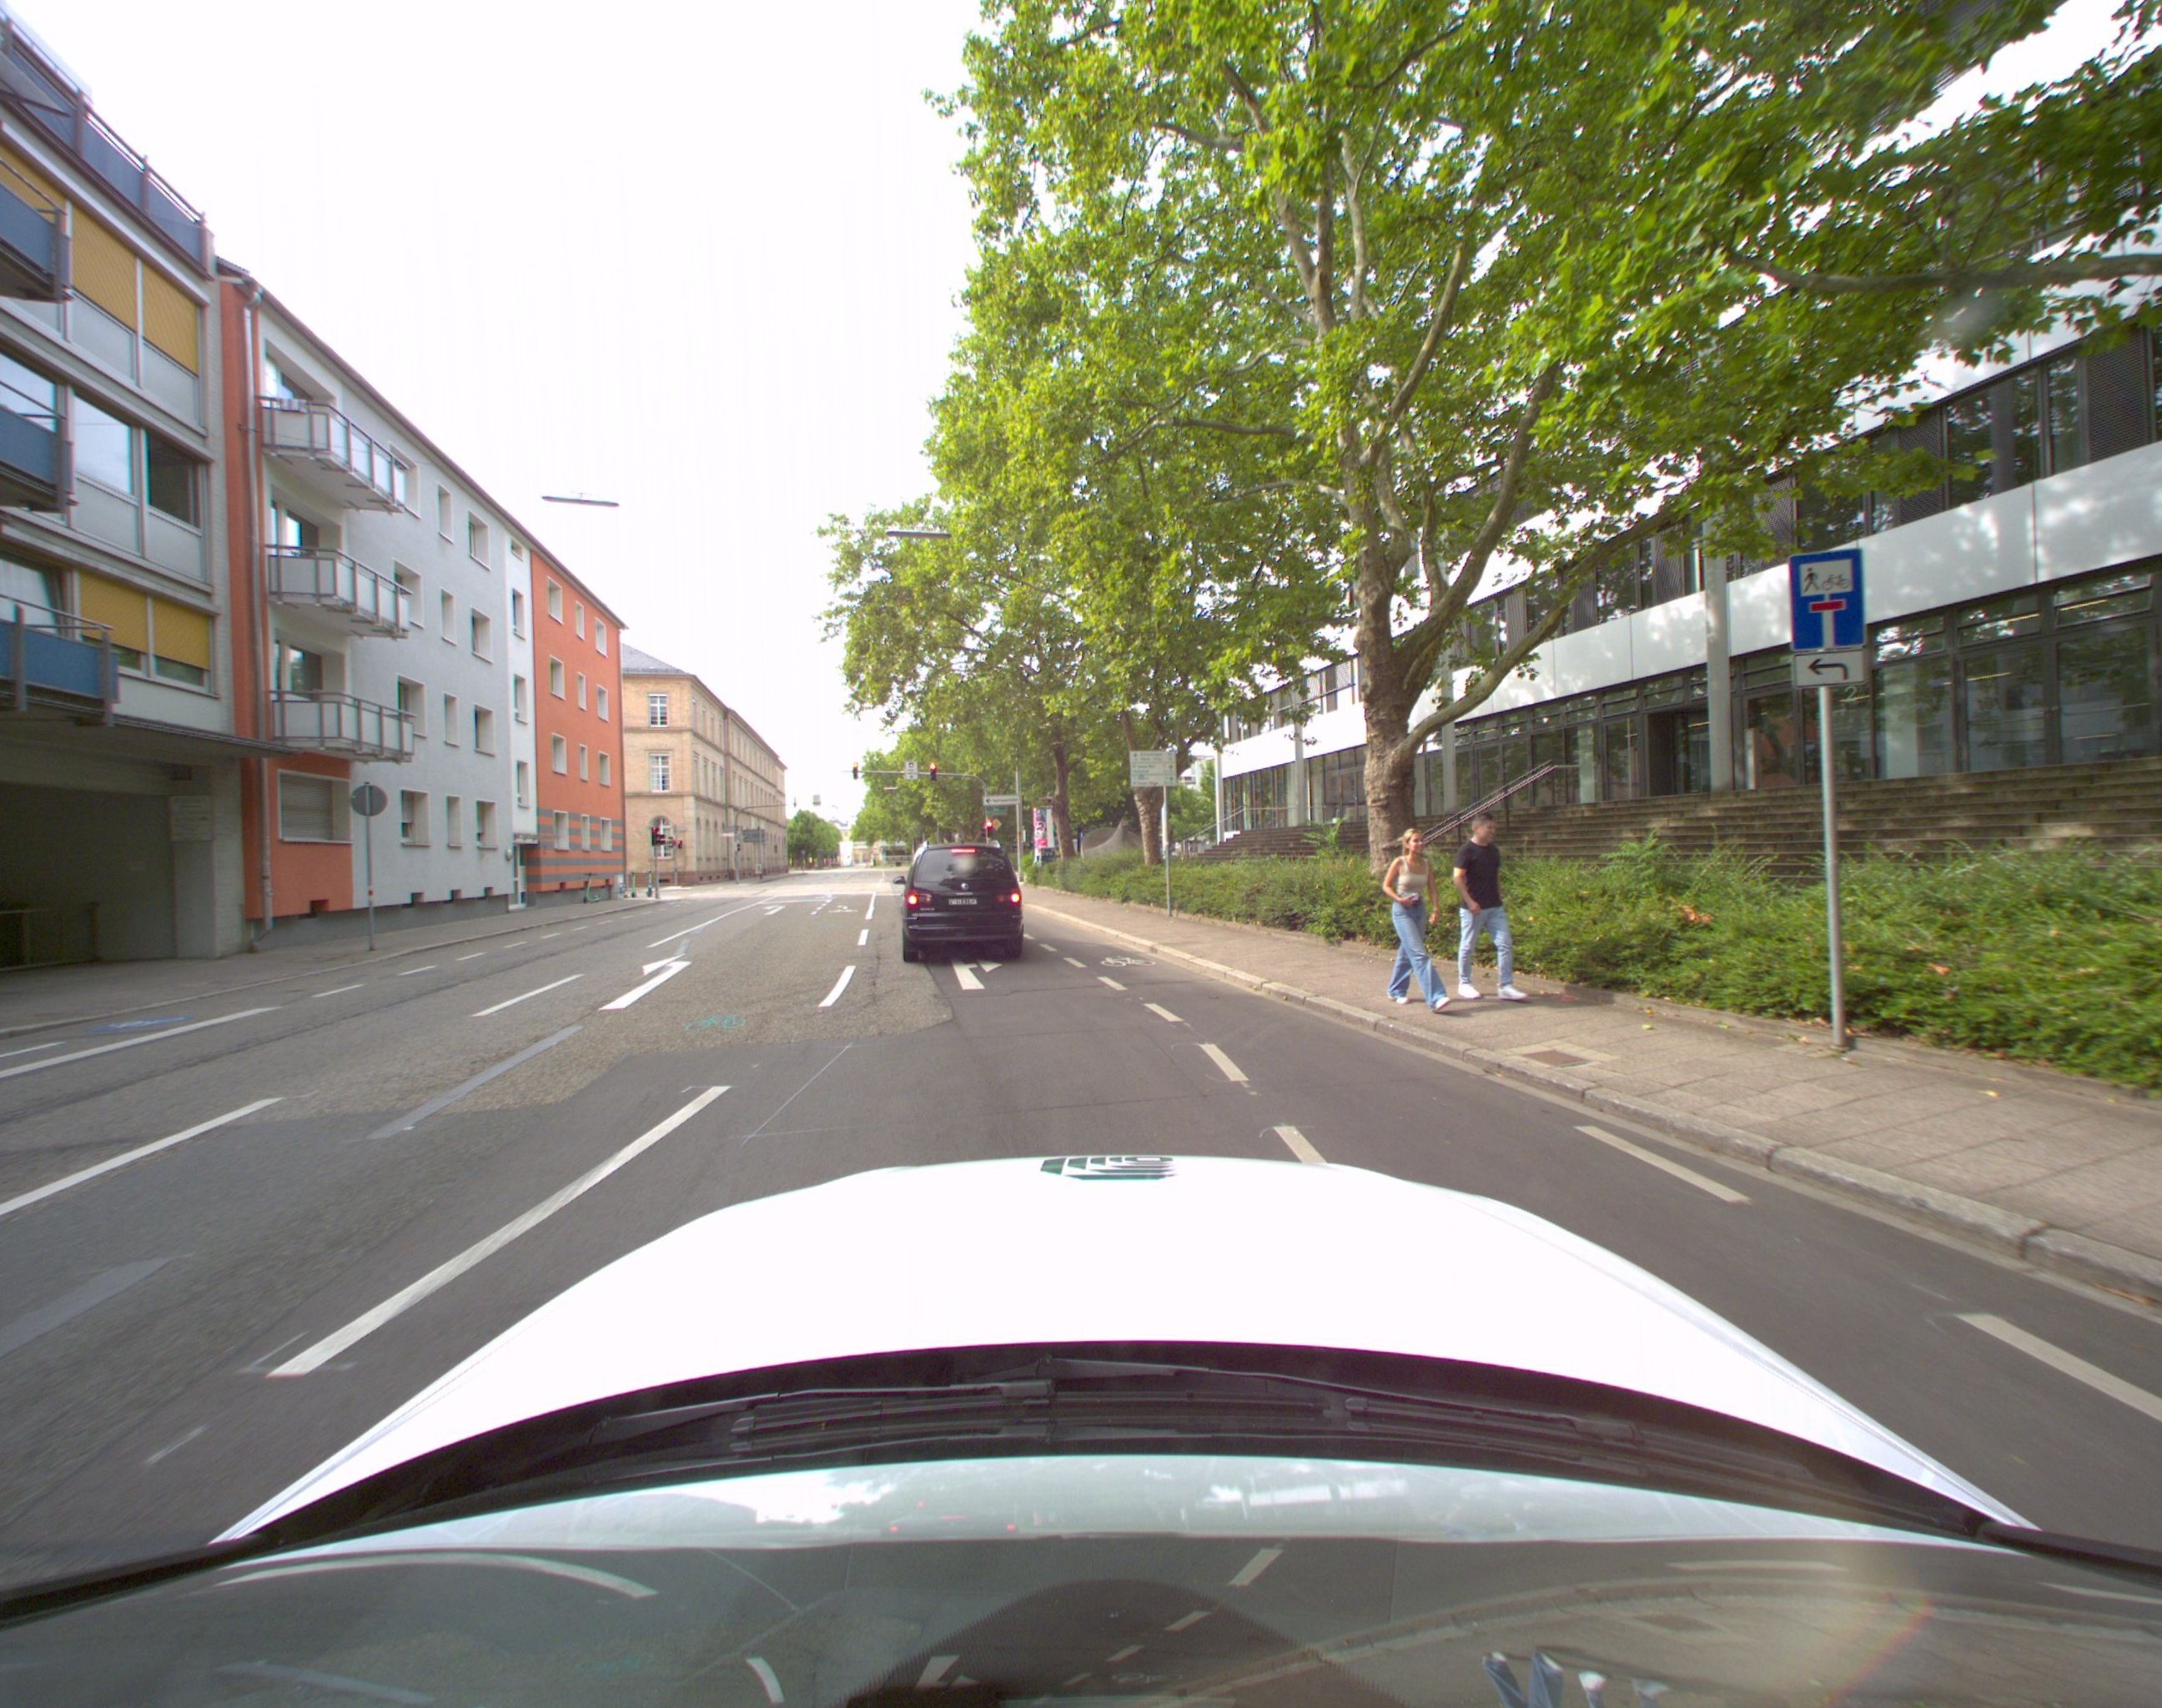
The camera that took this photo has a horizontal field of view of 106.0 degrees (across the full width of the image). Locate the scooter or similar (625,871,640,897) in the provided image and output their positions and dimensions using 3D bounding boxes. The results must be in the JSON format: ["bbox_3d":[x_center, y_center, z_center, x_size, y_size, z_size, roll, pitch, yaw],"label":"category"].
[{"bbox_3d":[-20.534,1.388,37.297,0.379,1.147,1.135,-2,-1,-17],"label":"scooter or similar"}]

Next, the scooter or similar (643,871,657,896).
[{"bbox_3d":[-20.091,1.381,37.971,0.379,1.144,1.135,-2,-1,-17],"label":"scooter or similar"}]

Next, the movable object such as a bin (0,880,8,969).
[{"bbox_3d":[-18.332,1.184,12.890,1.191,1.464,1.048,-2,0,-14],"label":"movable object such as a bin"}]

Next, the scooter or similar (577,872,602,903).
[{"bbox_3d":[-18.900,1.282,31.331,0.378,1.184,1.383,-2,-1,-14],"label":"scooter or similar"}]

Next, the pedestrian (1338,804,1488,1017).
[{"bbox_3d":[3.024,0.480,7.512,0.712,1.783,1.028,-4,0,-15],"label":"pedestrian"}]

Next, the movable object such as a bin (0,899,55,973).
[{"bbox_3d":[-17.381,1.320,13.170,0.642,1.126,0.706,-2,0,-13],"label":"movable object such as a bin"}]

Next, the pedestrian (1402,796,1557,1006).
[{"bbox_3d":[3.723,0.406,7.683,0.716,1.800,1.028,-4,0,-15],"label":"pedestrian"}]

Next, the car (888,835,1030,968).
[{"bbox_3d":[-1.987,0.628,13.376,1.873,1.745,4.559,-2,0,-9],"label":"car"}]
